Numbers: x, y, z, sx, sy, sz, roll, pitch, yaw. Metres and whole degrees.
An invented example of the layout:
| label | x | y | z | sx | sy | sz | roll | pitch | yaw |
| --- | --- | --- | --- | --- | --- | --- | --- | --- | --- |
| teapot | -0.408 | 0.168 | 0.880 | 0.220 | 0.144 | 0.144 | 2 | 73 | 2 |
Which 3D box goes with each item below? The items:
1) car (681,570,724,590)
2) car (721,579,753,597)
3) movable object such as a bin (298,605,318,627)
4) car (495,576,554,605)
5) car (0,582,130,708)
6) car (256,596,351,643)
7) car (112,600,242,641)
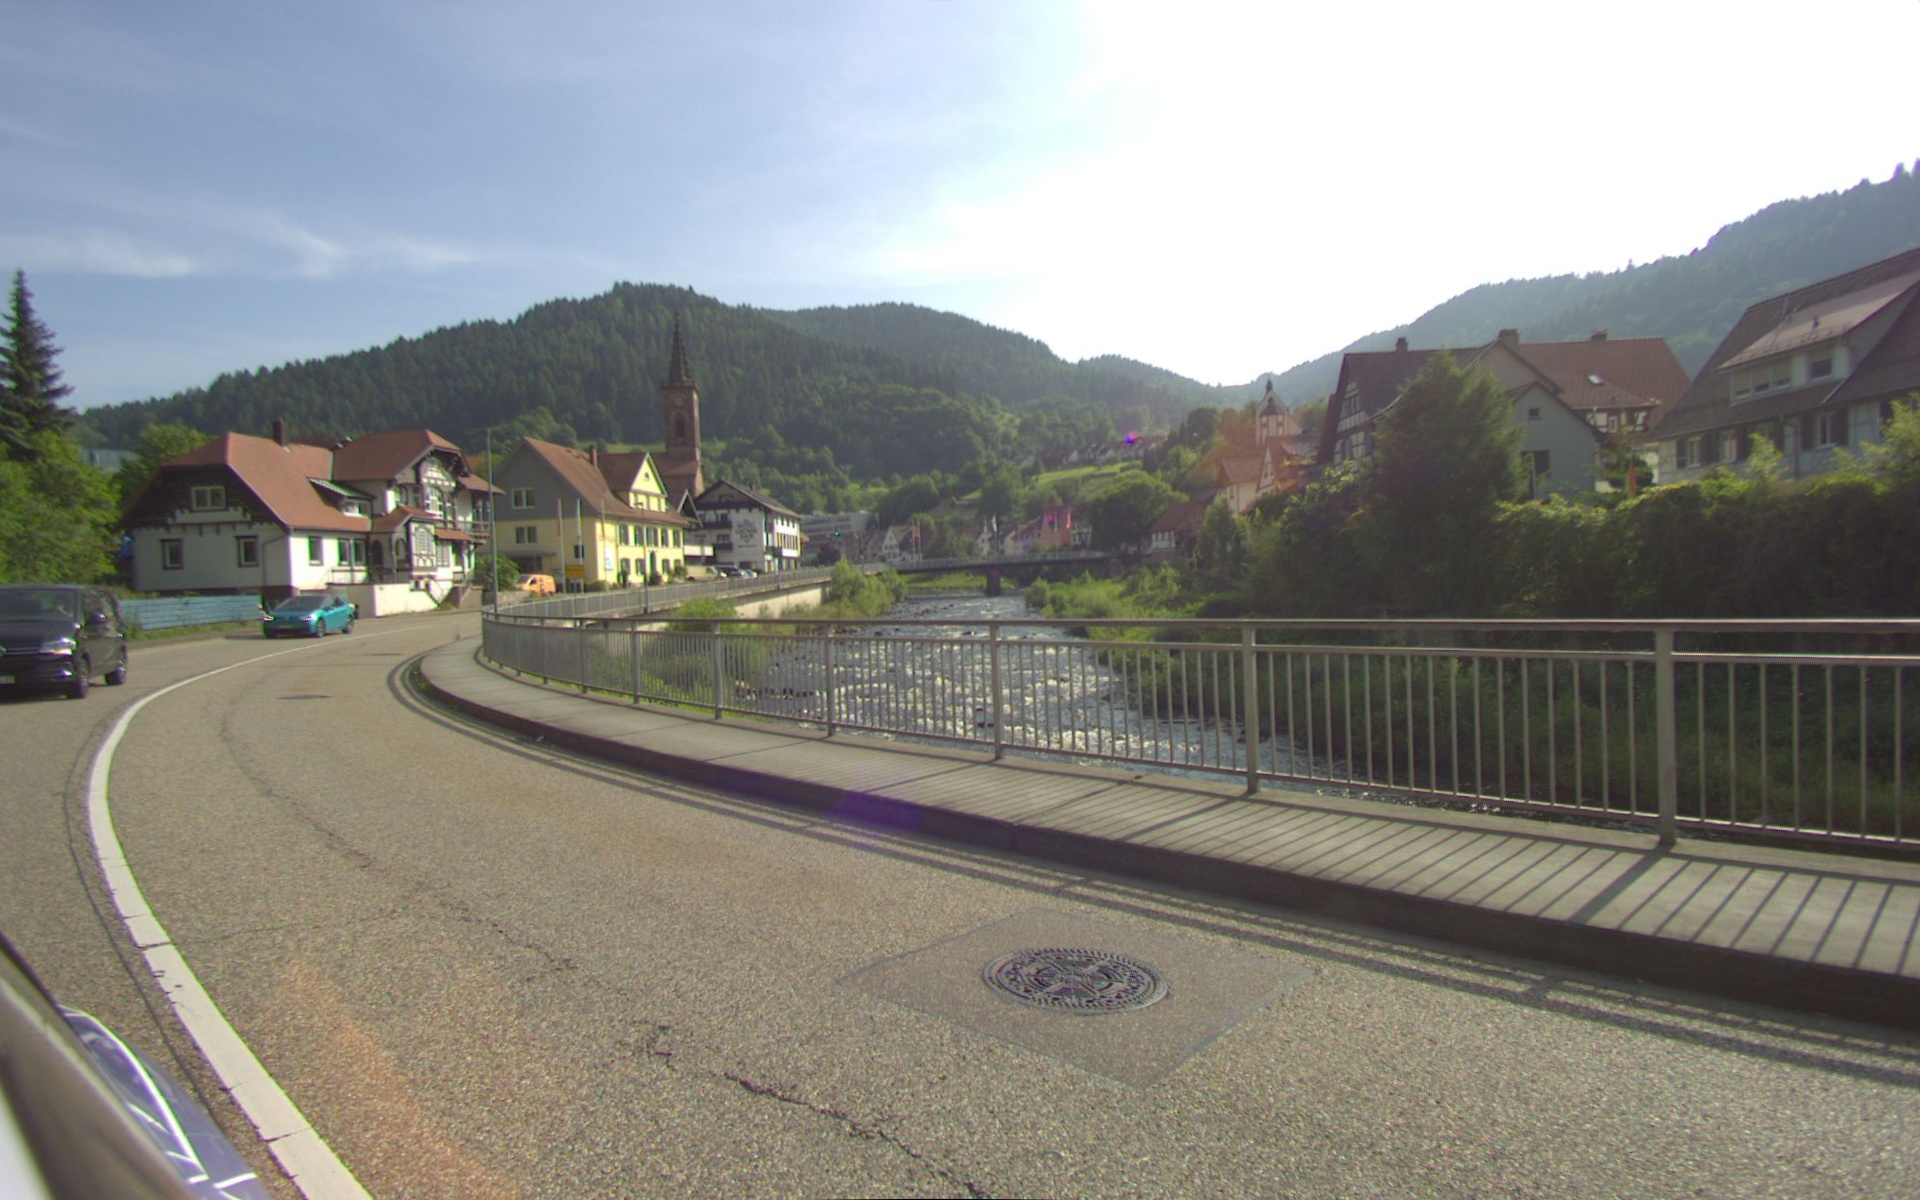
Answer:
| label | x | y | z | sx | sy | sz | roll | pitch | yaw |
| --- | --- | --- | --- | --- | --- | --- | --- | --- | --- |
| car | -29.612 | -2.304 | 116.575 | 4.404 | 1.972 | 1.710 | 3 | 2 | 7 |
| car | -20.984 | -1.122 | 95.301 | 1.799 | 1.655 | 3.994 | 2 | 1 | 5 |
| movable object such as a bin | -32.785 | 0.804 | 50.896 | 0.472 | 1.070 | 0.753 | -2 | 1 | 0 |
| car | -31.736 | -0.714 | 73.946 | 1.890 | 2.012 | 4.829 | 2 | 1 | 4 |
| car | -16.406 | 0.712 | 17.987 | 1.857 | 1.979 | 4.880 | 1 | -1 | -31 |
| car | -24.396 | 0.676 | 37.770 | 1.656 | 1.533 | 3.875 | -1 | 2 | -11 |
| car | -33.027 | 0.854 | 42.855 | 4.258 | 1.480 | 1.842 | -3 | 0 | -36 |
